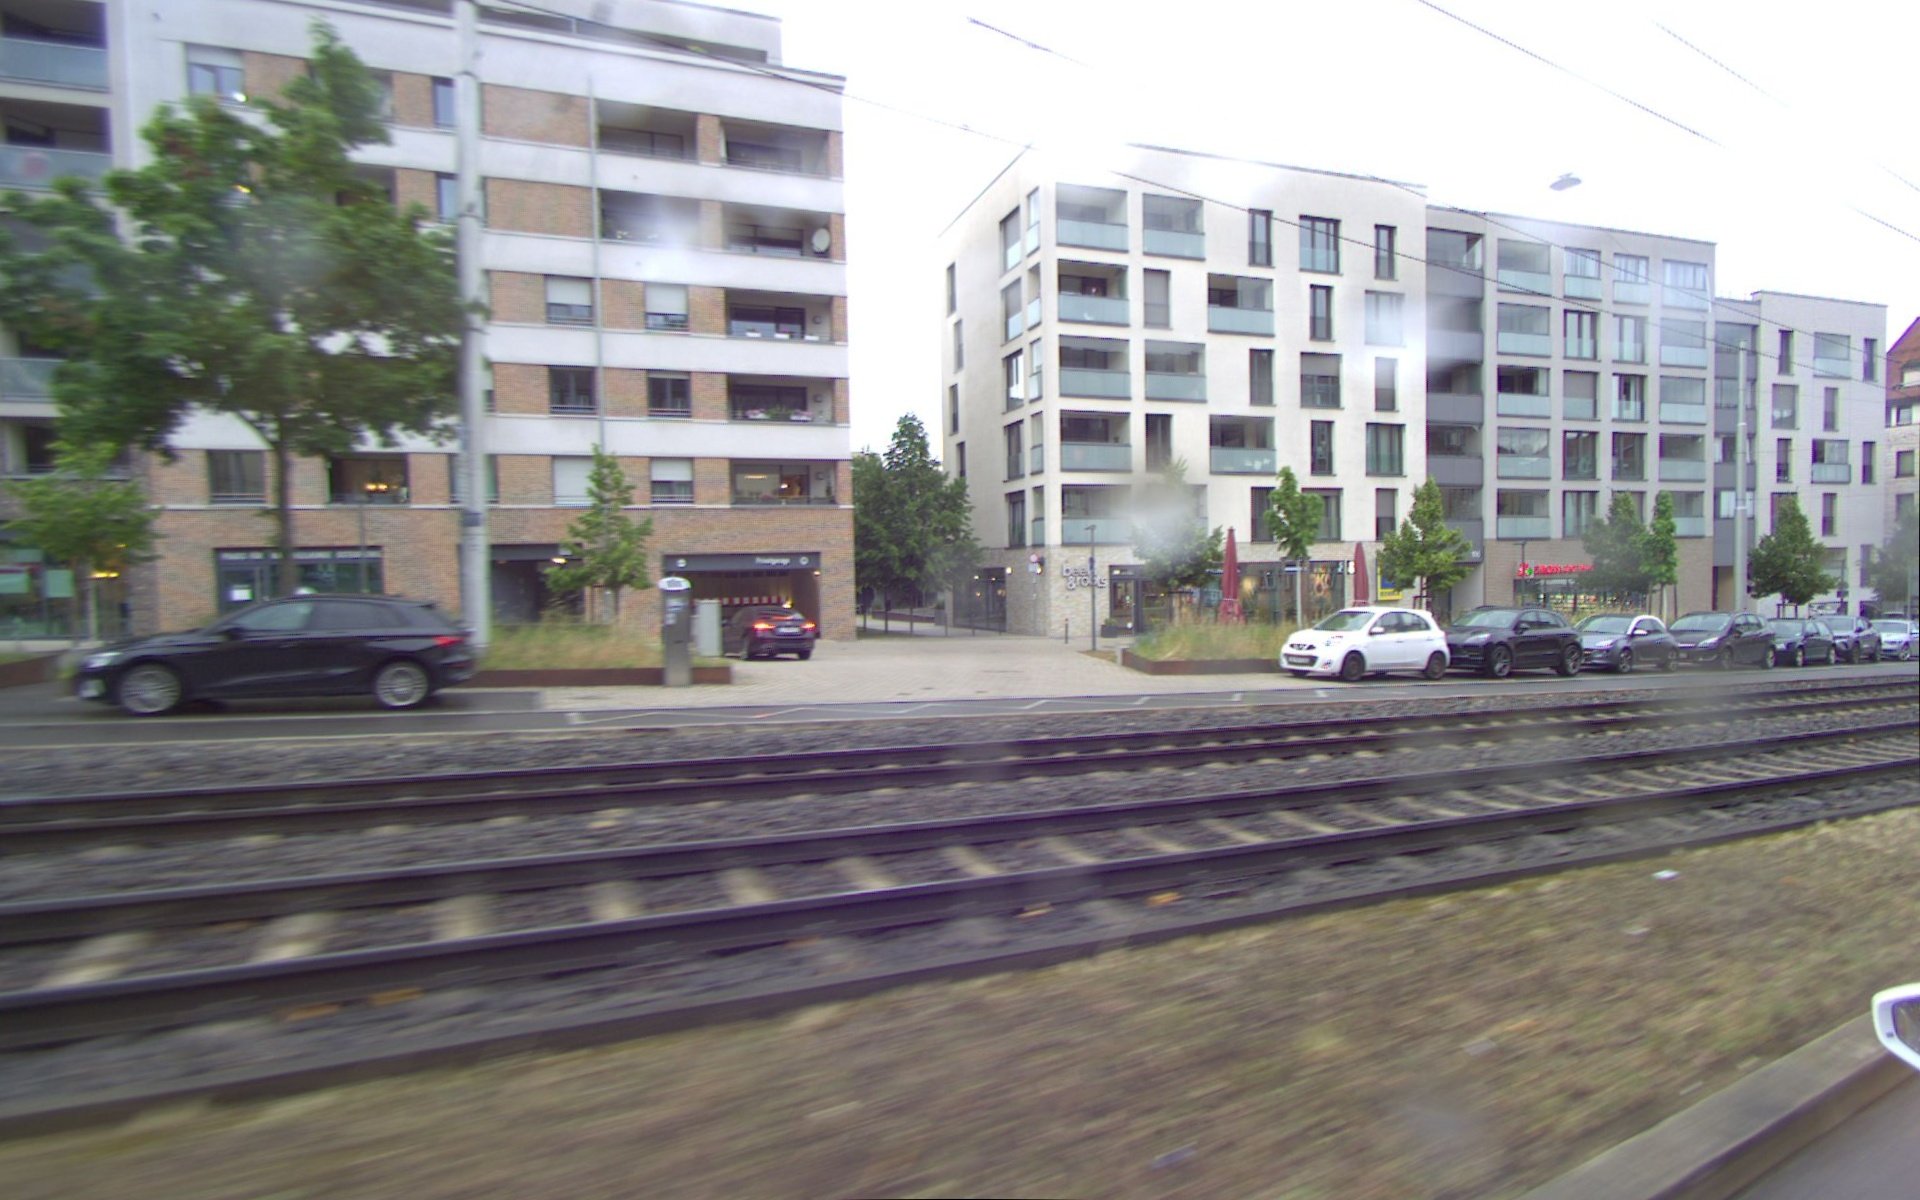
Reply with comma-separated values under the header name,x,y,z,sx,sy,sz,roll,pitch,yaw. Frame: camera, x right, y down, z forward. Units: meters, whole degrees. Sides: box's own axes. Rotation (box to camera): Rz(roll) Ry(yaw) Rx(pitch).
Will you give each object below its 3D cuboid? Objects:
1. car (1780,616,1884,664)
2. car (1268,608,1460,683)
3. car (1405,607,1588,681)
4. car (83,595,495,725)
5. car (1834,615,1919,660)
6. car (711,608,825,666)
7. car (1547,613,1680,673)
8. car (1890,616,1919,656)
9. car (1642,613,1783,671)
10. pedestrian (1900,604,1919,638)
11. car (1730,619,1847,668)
name,x,y,z,sx,sy,sz,roll,pitch,yaw
car,29.560,1.336,34.020,3.881,1.524,1.761,1,-1,-34
car,8.674,0.938,21.587,3.682,1.499,1.761,1,0,-24
car,12.577,0.994,23.493,4.354,1.582,1.757,1,0,-30
car,-8.436,0.708,13.148,4.138,1.450,1.962,1,1,-22
car,33.567,1.342,36.527,4.042,1.524,1.761,1,-1,-34
car,-5.308,0.986,27.481,1.744,1.453,3.965,1,-1,-32
car,16.986,1.081,26.087,3.410,1.454,1.541,1,0,-30
car,39.165,1.447,40.283,4.193,1.524,1.900,1,-1,-34
car,21.434,1.162,28.574,4.268,1.533,1.711,1,0,-30
pedestrian,59.040,1.290,62.277,0.757,2.040,0.935,0,1,-34
car,25.890,1.329,31.376,3.963,1.380,1.541,1,1,-30
